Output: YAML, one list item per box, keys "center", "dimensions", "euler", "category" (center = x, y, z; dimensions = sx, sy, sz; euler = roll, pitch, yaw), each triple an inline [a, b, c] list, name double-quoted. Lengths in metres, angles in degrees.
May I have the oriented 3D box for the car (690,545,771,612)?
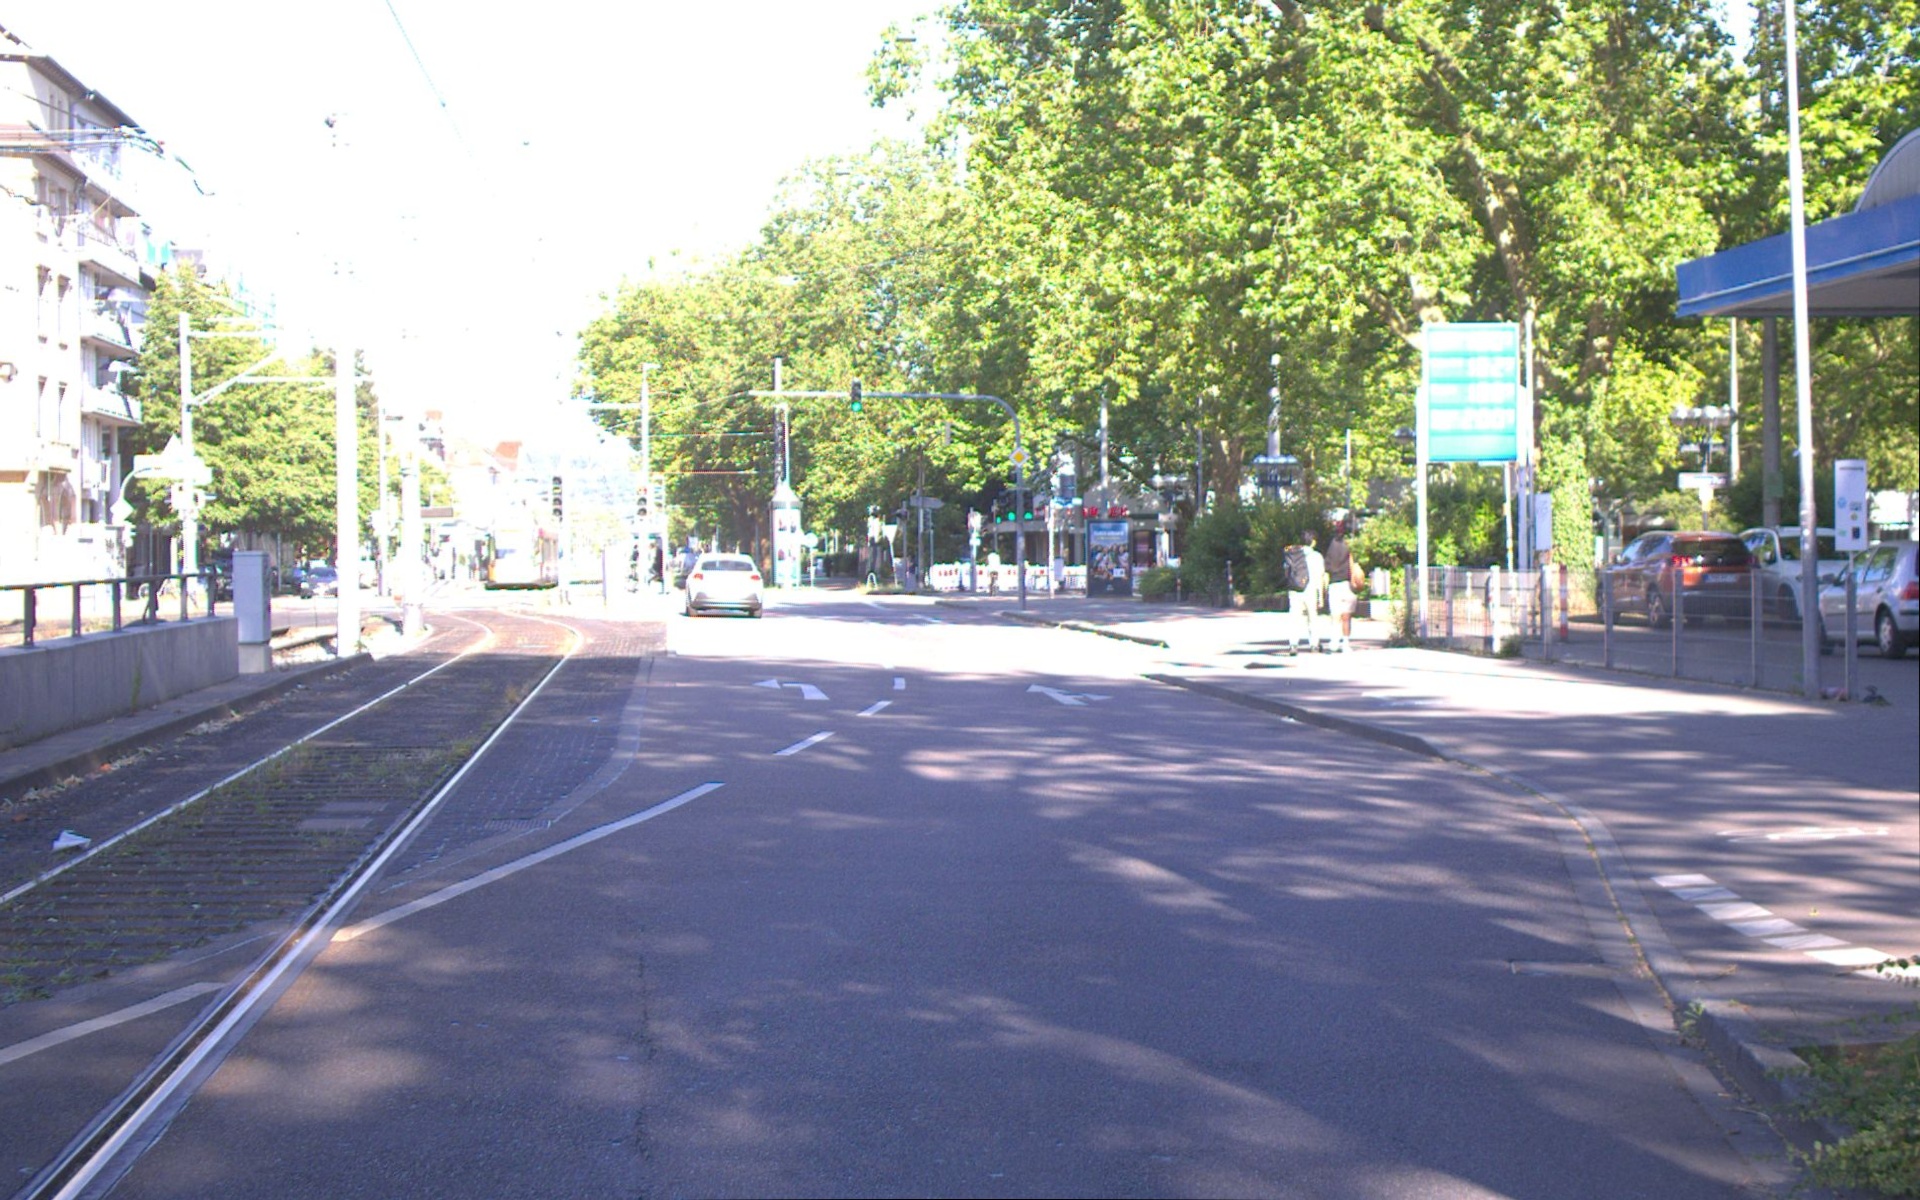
- center: [-5.353, -0.507, 79.802]
  dimensions: [1.745, 1.457, 3.645]
  euler: [1, 1, -6]
  category: "car"

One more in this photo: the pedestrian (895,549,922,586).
- center: [-1.942, -1.220, 129.437]
  dimensions: [0.660, 1.383, 0.831]
  euler: [2, 1, 28]
  category: "pedestrian"

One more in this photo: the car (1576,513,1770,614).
- center: [12.179, -0.663, 59.016]
  dimensions: [1.817, 1.596, 4.664]
  euler: [-1, 2, -7]
  category: "car"

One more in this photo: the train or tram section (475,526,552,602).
- center: [-21.045, -1.754, 162.565]
  dimensions: [2.952, 3.398, 10.793]
  euler: [1, 1, -4]
  category: "train or tram section"

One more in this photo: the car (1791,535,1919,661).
- center: [11.454, -0.060, 41.344]
  dimensions: [1.567, 1.425, 4.099]
  euler: [-1, 1, -5]
  category: "car"

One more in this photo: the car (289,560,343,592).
- center: [-30.658, -1.176, 163.767]
  dimensions: [1.993, 1.444, 4.841]
  euler: [-1, 1, -4]
  category: "car"

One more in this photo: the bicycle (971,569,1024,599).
- center: [1.269, -0.557, 118.005]
  dimensions: [1.198, 0.931, 2.575]
  euler: [1, 1, -14]
  category: "bicycle"

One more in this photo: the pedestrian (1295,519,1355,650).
- center: [5.098, -0.226, 48.094]
  dimensions: [0.603, 1.770, 0.879]
  euler: [-4, 1, -1]
  category: "pedestrian"

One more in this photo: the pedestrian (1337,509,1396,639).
- center: [5.693, -0.362, 48.153]
  dimensions: [0.603, 1.770, 0.690]
  euler: [-4, 1, -1]
  category: "pedestrian"

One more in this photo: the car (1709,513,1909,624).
- center: [14.368, -0.568, 58.436]
  dimensions: [1.859, 1.729, 4.799]
  euler: [-1, 2, -5]
  category: "car"

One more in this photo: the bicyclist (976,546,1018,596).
- center: [1.267, -1.006, 118.018]
  dimensions: [1.198, 1.691, 0.904]
  euler: [1, 1, -14]
  category: "bicyclist"
